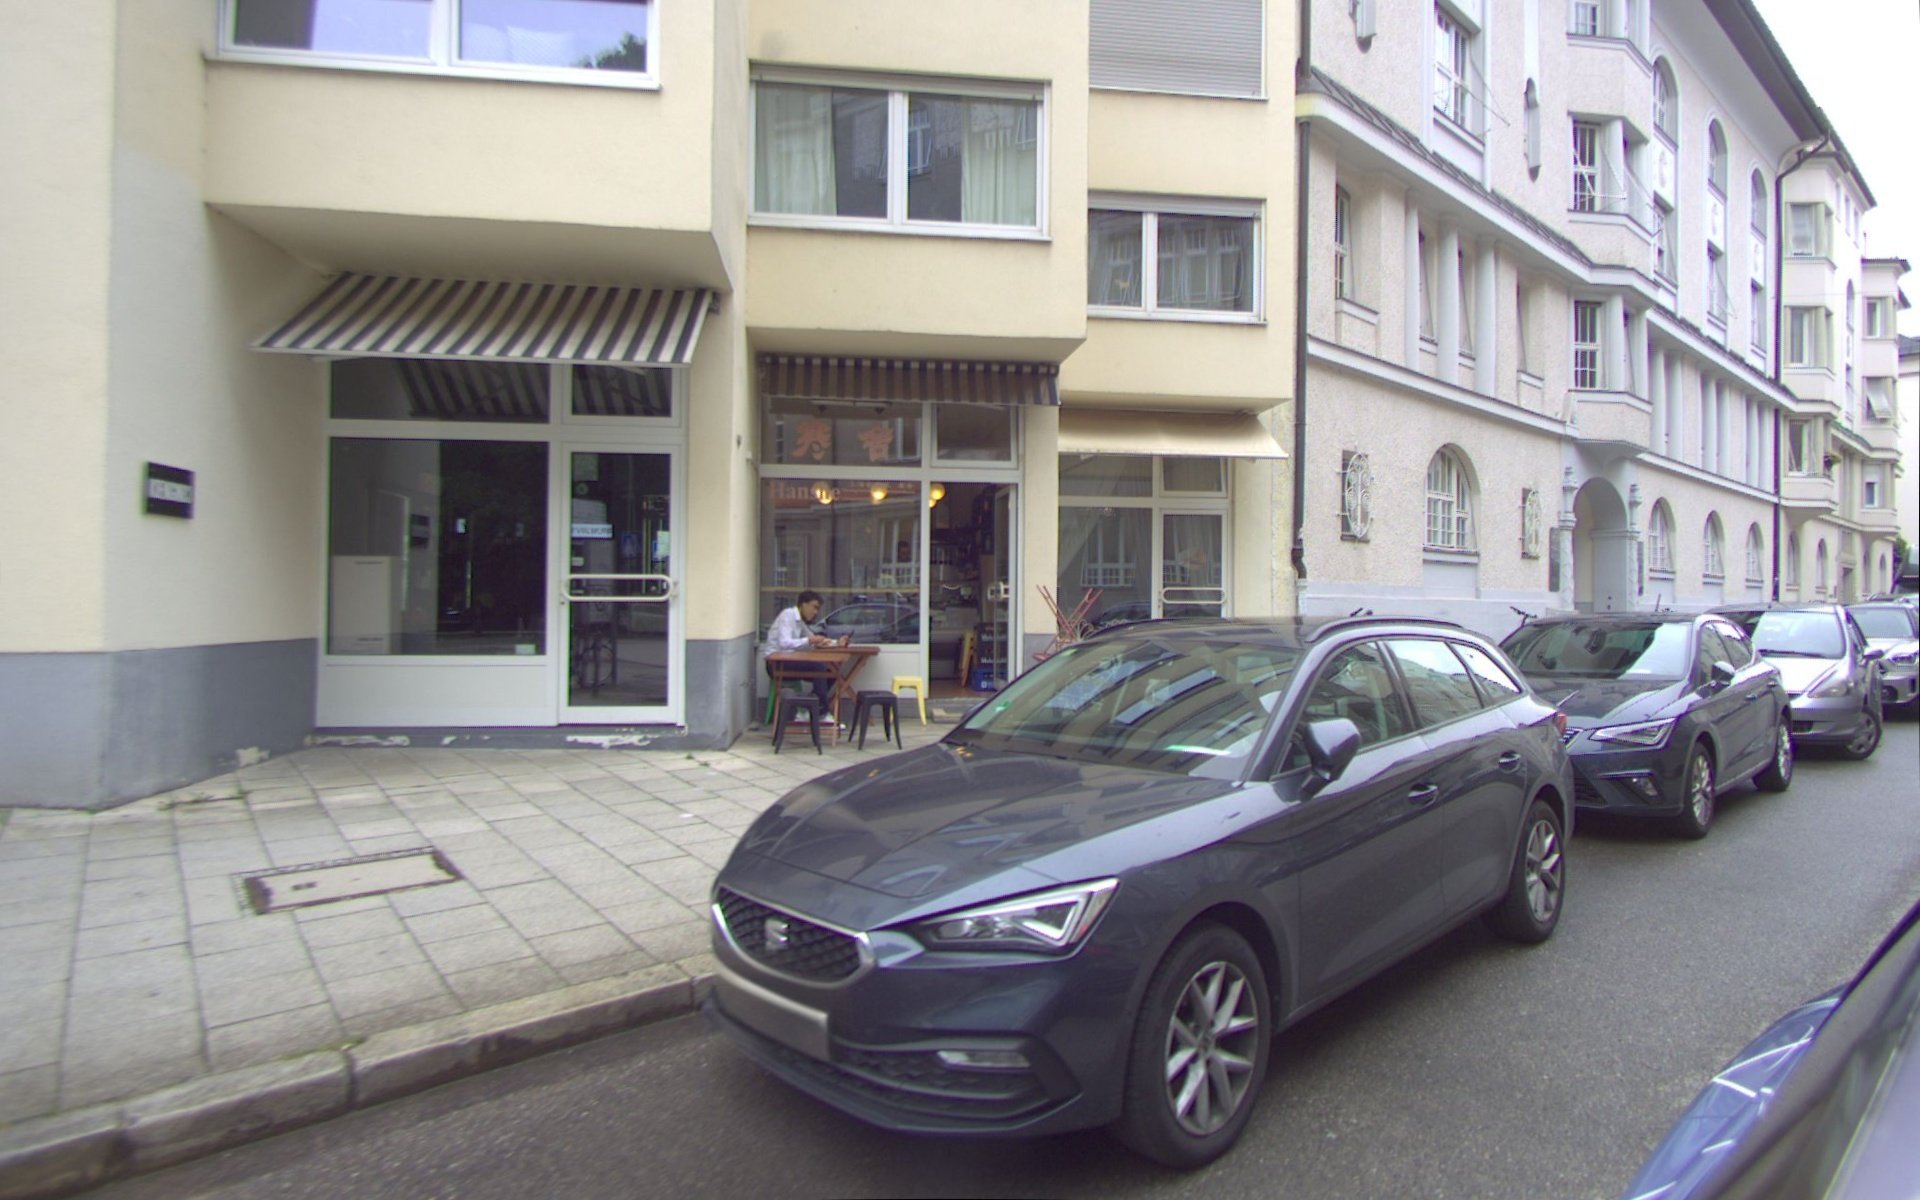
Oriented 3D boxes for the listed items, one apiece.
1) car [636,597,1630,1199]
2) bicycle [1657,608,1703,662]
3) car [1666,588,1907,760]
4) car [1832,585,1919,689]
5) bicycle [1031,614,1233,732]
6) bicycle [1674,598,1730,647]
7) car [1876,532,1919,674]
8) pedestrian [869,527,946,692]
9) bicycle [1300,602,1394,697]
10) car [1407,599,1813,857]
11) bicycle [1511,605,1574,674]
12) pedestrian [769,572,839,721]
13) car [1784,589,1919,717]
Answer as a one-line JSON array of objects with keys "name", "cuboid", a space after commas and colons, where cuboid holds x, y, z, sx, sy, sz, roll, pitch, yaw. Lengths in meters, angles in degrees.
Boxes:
[{"name": "car", "cuboid": [1.164, 0.739, 4.237, 4.532, 1.490, 1.695, 0, 0, -42]}, {"name": "bicycle", "cuboid": [16.578, 0.780, 23.289, 1.758, 1.164, 0.482, 0, 2, -43]}, {"name": "car", "cuboid": [9.125, 0.668, 11.065, 3.792, 1.556, 1.635, 0, 0, -44]}, {"name": "car", "cuboid": [17.443, 0.612, 18.140, 4.590, 1.710, 1.997, 0, -1, -40]}, {"name": "bicycle", "cuboid": [1.638, 0.689, 9.823, 1.763, 1.045, 0.754, 1, 1, -4]}, {"name": "bicycle", "cuboid": [18.039, 0.533, 24.591, 1.753, 1.165, 0.483, 0, -1, -32]}, {"name": "car", "cuboid": [22.824, 0.009, 22.951, 6.025, 2.997, 2.258, -1, -1, -41]}, {"name": "pedestrian", "cuboid": [-0.649, 0.101, 12.221, 0.727, 1.870, 1.018, 3, 1, -8]}, {"name": "bicycle", "cuboid": [5.353, 0.639, 13.951, 0.563, 1.207, 1.650, 3, 2, 45]}, {"name": "car", "cuboid": [5.079, 0.737, 7.711, 3.788, 1.490, 1.636, 0, 0, -41]}, {"name": "bicycle", "cuboid": [10.498, 0.684, 18.213, 1.758, 1.165, 0.482, 0, -1, -43]}, {"name": "pedestrian", "cuboid": [-1.522, 0.440, 9.924, 0.660, 1.416, 0.533, 0, -1, -7]}, {"name": "car", "cuboid": [13.129, 0.666, 14.405, 3.901, 1.612, 1.636, 0, 0, -43]}]
